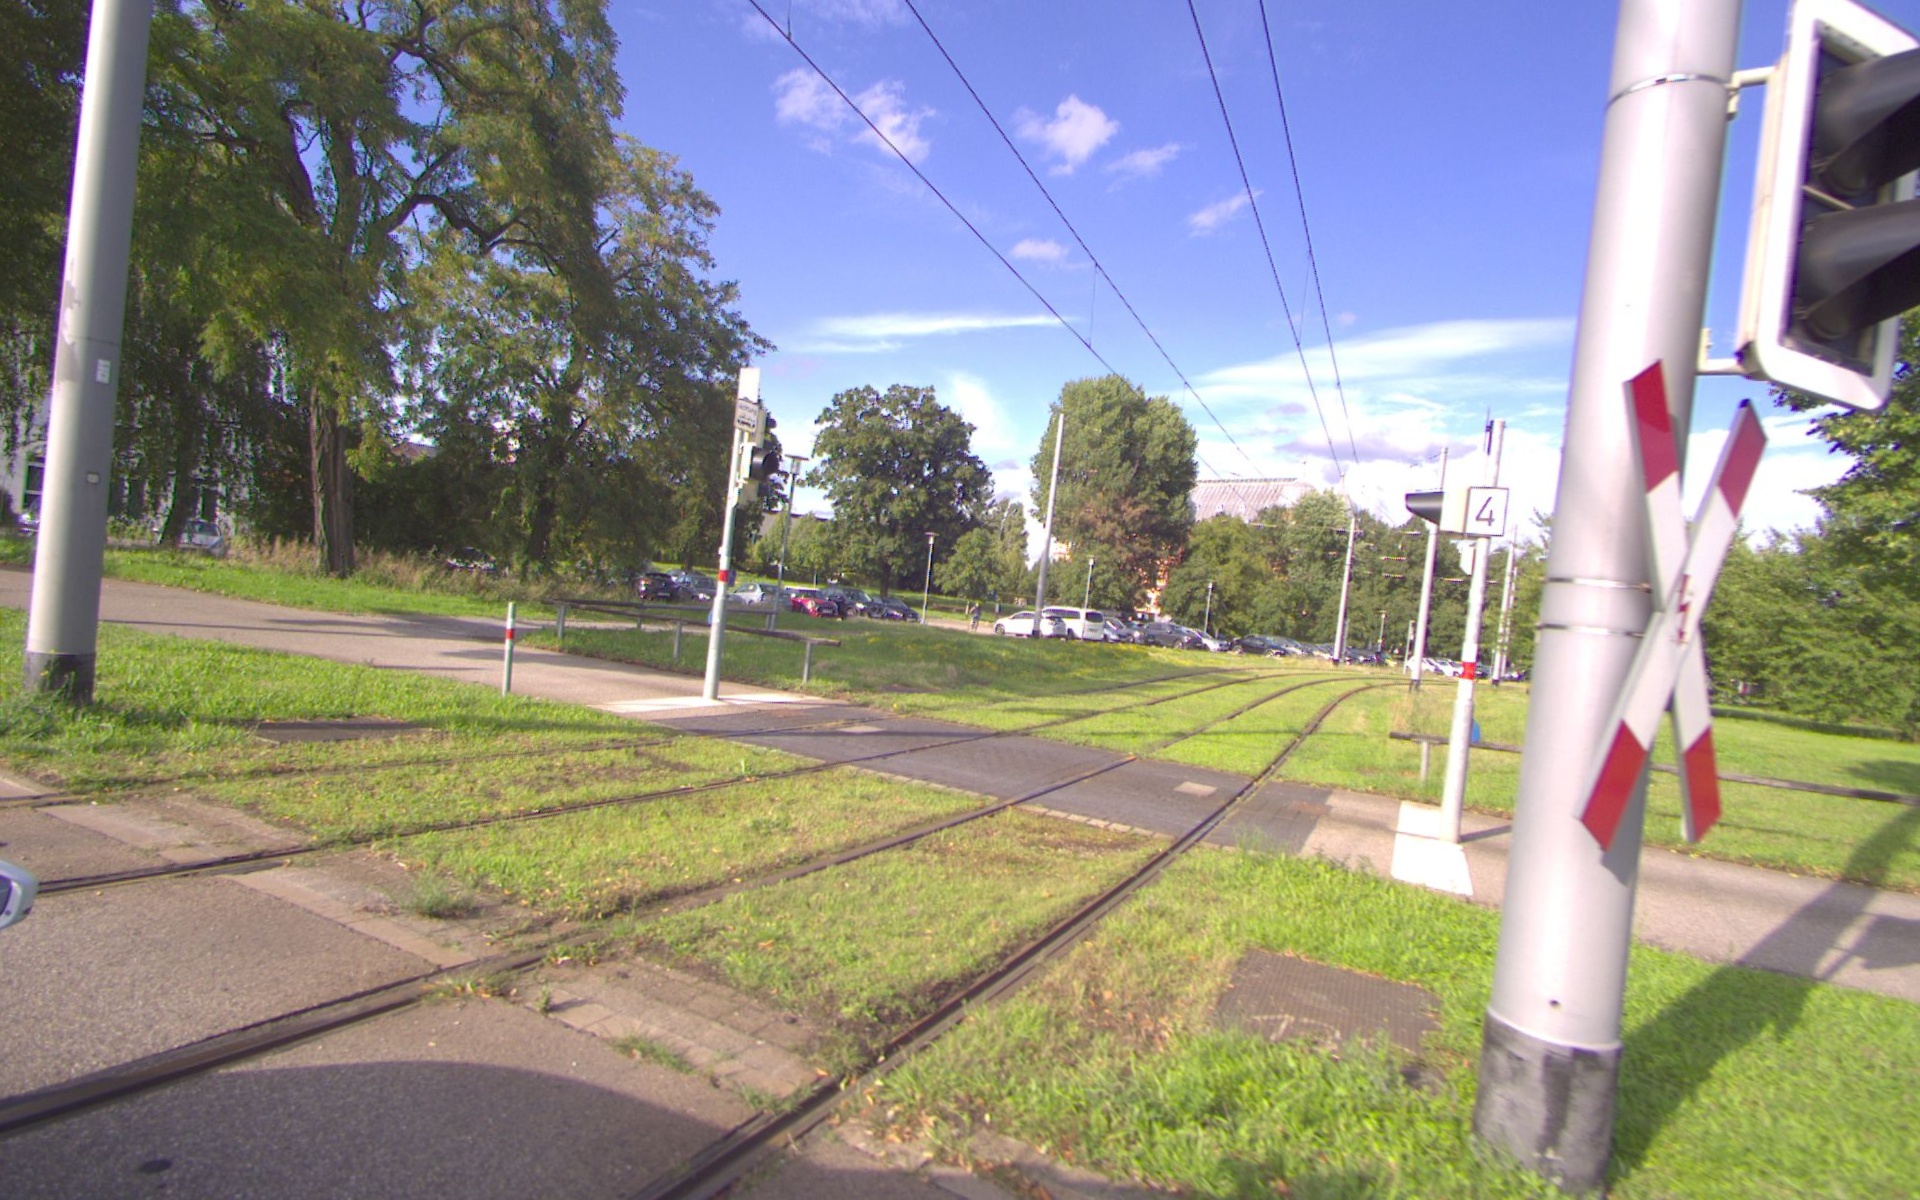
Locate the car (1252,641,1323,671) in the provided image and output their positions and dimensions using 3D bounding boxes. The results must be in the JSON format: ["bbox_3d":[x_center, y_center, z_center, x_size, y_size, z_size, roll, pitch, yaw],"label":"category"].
[{"bbox_3d":[23.153,3.972,71.242,1.842,1.560,4.427,6,0,-35],"label":"car"}]

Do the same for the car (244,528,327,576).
[{"bbox_3d":[-22.122,-1.594,32.929,1.846,1.223,4.683,6,0,-38],"label":"car"}]

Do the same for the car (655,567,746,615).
[{"bbox_3d":[-10.935,-0.408,42.153,1.845,1.534,4.697,6,0,-38],"label":"car"}]

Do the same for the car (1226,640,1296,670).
[{"bbox_3d":[20.886,3.830,69.947,1.786,1.534,4.427,6,0,-35],"label":"car"}]

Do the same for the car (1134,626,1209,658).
[{"bbox_3d":[13.196,2.612,62.935,1.843,1.416,4.427,6,0,-35],"label":"car"}]

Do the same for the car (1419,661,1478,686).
[{"bbox_3d":[43.417,6.538,89.489,1.837,1.560,4.437,6,0,-28],"label":"car"}]

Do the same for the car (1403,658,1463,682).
[{"bbox_3d":[41.315,6.089,87.903,1.837,1.560,4.437,6,0,-28],"label":"car"}]

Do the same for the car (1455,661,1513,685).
[{"bbox_3d":[48.332,6.745,92.878,1.837,1.560,4.437,6,0,-28],"label":"car"}]

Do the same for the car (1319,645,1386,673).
[{"bbox_3d":[30.123,4.539,77.361,1.842,1.560,4.427,6,0,-35],"label":"car"}]

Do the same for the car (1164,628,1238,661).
[{"bbox_3d":[15.419,2.837,64.489,1.843,1.523,4.427,6,0,-35],"label":"car"}]

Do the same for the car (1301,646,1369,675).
[{"bbox_3d":[28.067,4.507,75.489,1.842,1.560,4.427,6,0,-35],"label":"car"}]

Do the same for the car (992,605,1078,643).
[{"bbox_3d":[4.016,1.280,54.648,4.411,1.534,1.850,6,0,44],"label":"car"}]

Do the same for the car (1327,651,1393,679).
[{"bbox_3d":[31.473,5.104,79.290,1.842,1.560,4.427,6,0,-35],"label":"car"}]

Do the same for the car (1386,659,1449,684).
[{"bbox_3d":[38.935,6.060,85.658,1.784,1.494,4.422,6,0,-38],"label":"car"}]

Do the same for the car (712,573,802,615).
[{"bbox_3d":[-8.986,-0.282,44.275,1.845,1.375,4.783,6,0,-38],"label":"car"}]

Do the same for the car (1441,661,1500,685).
[{"bbox_3d":[45.976,6.566,90.672,1.837,1.560,4.437,6,0,-28],"label":"car"}]

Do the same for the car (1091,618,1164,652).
[{"bbox_3d":[9.948,2.078,60.017,2.014,1.534,4.079,6,0,-30],"label":"car"}]

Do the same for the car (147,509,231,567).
[{"bbox_3d":[-23.919,-1.942,31.205,1.845,1.458,4.683,6,0,-38],"label":"car"}]

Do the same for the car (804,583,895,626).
[{"bbox_3d":[-5.231,0.182,47.014,1.845,1.534,4.893,6,0,-38],"label":"car"}]

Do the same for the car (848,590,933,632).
[{"bbox_3d":[-3.414,0.515,48.852,1.845,1.534,4.422,6,0,-38],"label":"car"}]

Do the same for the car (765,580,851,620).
[{"bbox_3d":[-6.965,-0.041,45.798,1.845,1.380,4.422,6,0,-38],"label":"car"}]

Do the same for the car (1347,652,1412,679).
[{"bbox_3d":[33.687,5.258,80.919,1.842,1.560,4.427,6,0,-35],"label":"car"}]

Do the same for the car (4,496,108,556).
[{"bbox_3d":[-26.043,-2.134,29.114,1.845,1.399,4.467,6,0,-38],"label":"car"}]

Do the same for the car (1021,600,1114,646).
[{"bbox_3d":[5.978,1.280,56.633,2.295,2.032,5.064,6,0,-35],"label":"car"}]

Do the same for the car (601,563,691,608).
[{"bbox_3d":[-12.705,-0.621,40.537,1.845,1.376,4.683,6,0,-38],"label":"car"}]

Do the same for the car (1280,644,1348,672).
[{"bbox_3d":[25.968,4.215,73.941,1.842,1.472,4.427,6,0,-35],"label":"car"}]

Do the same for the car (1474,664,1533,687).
[{"bbox_3d":[50.831,7.020,94.187,1.837,1.560,4.437,6,0,-28],"label":"car"}]

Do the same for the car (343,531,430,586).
[{"bbox_3d":[-19.679,-1.464,34.418,1.845,1.534,4.683,6,0,-38],"label":"car"}]

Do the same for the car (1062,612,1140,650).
[{"bbox_3d":[8.181,1.784,58.734,2.080,1.695,4.434,6,0,-30],"label":"car"}]

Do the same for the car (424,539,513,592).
[{"bbox_3d":[-17.703,-1.281,36.116,1.845,1.534,4.683,6,0,-38],"label":"car"}]
